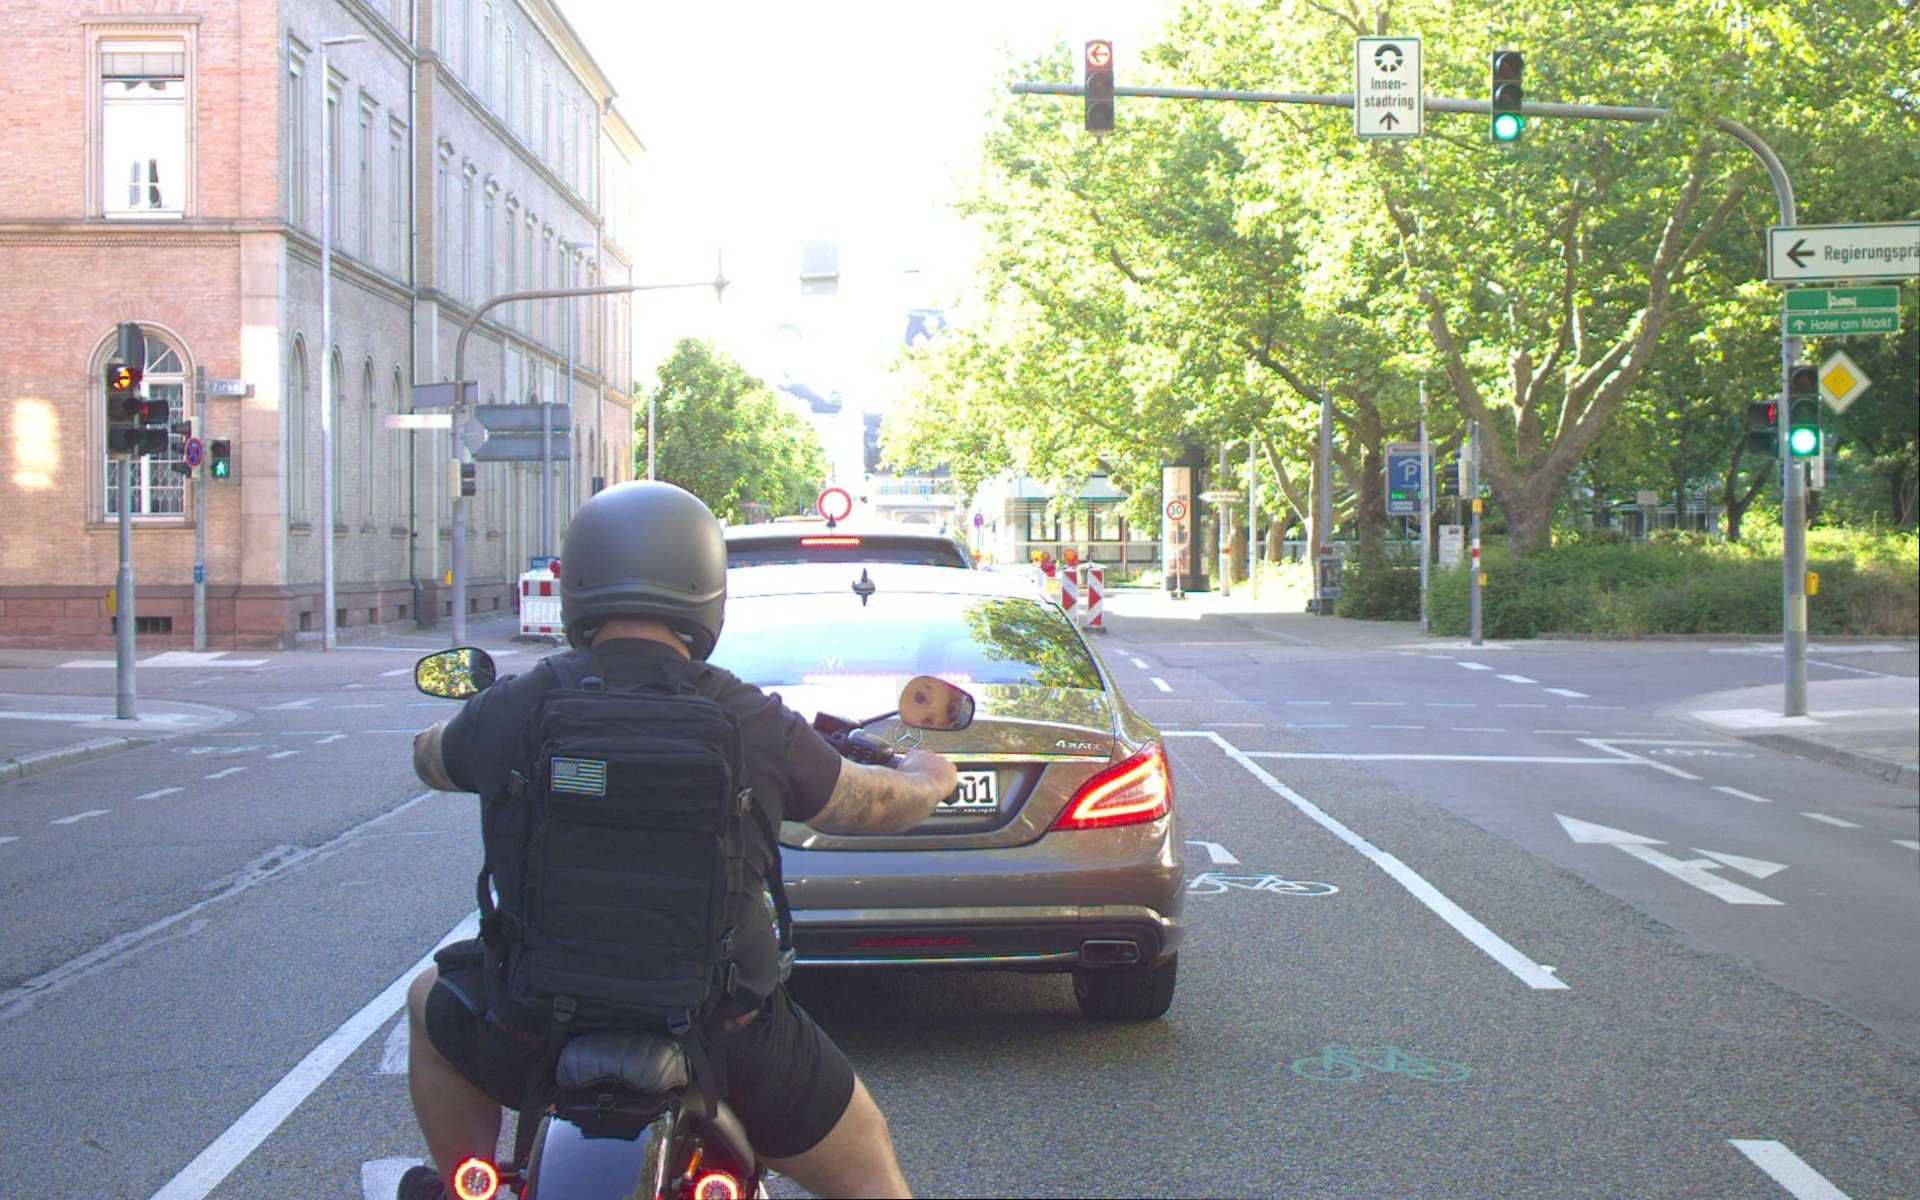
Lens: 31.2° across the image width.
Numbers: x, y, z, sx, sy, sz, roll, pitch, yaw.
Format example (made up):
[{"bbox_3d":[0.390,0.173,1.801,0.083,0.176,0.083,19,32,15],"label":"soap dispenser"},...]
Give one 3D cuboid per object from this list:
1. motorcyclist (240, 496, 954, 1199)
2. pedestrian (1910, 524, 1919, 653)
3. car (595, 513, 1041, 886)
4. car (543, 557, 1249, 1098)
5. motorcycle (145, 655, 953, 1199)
[{"bbox_3d":[-0.506,0.632,5.364,0.980,1.573,1.248,0,1,-1],"label":"motorcyclist"},{"bbox_3d":[13.527,-0.157,47.380,0.678,1.766,0.616,1,0,29],"label":"pedestrian"},{"bbox_3d":[-0.663,0.430,17.548,1.993,1.660,4.000,1,1,-1],"label":"car"},{"bbox_3d":[-0.429,0.587,11.626,1.869,1.439,4.431,0,1,-8],"label":"car"},{"bbox_3d":[-0.513,0.763,5.388,0.980,1.271,2.407,0,1,-1],"label":"motorcycle"}]
